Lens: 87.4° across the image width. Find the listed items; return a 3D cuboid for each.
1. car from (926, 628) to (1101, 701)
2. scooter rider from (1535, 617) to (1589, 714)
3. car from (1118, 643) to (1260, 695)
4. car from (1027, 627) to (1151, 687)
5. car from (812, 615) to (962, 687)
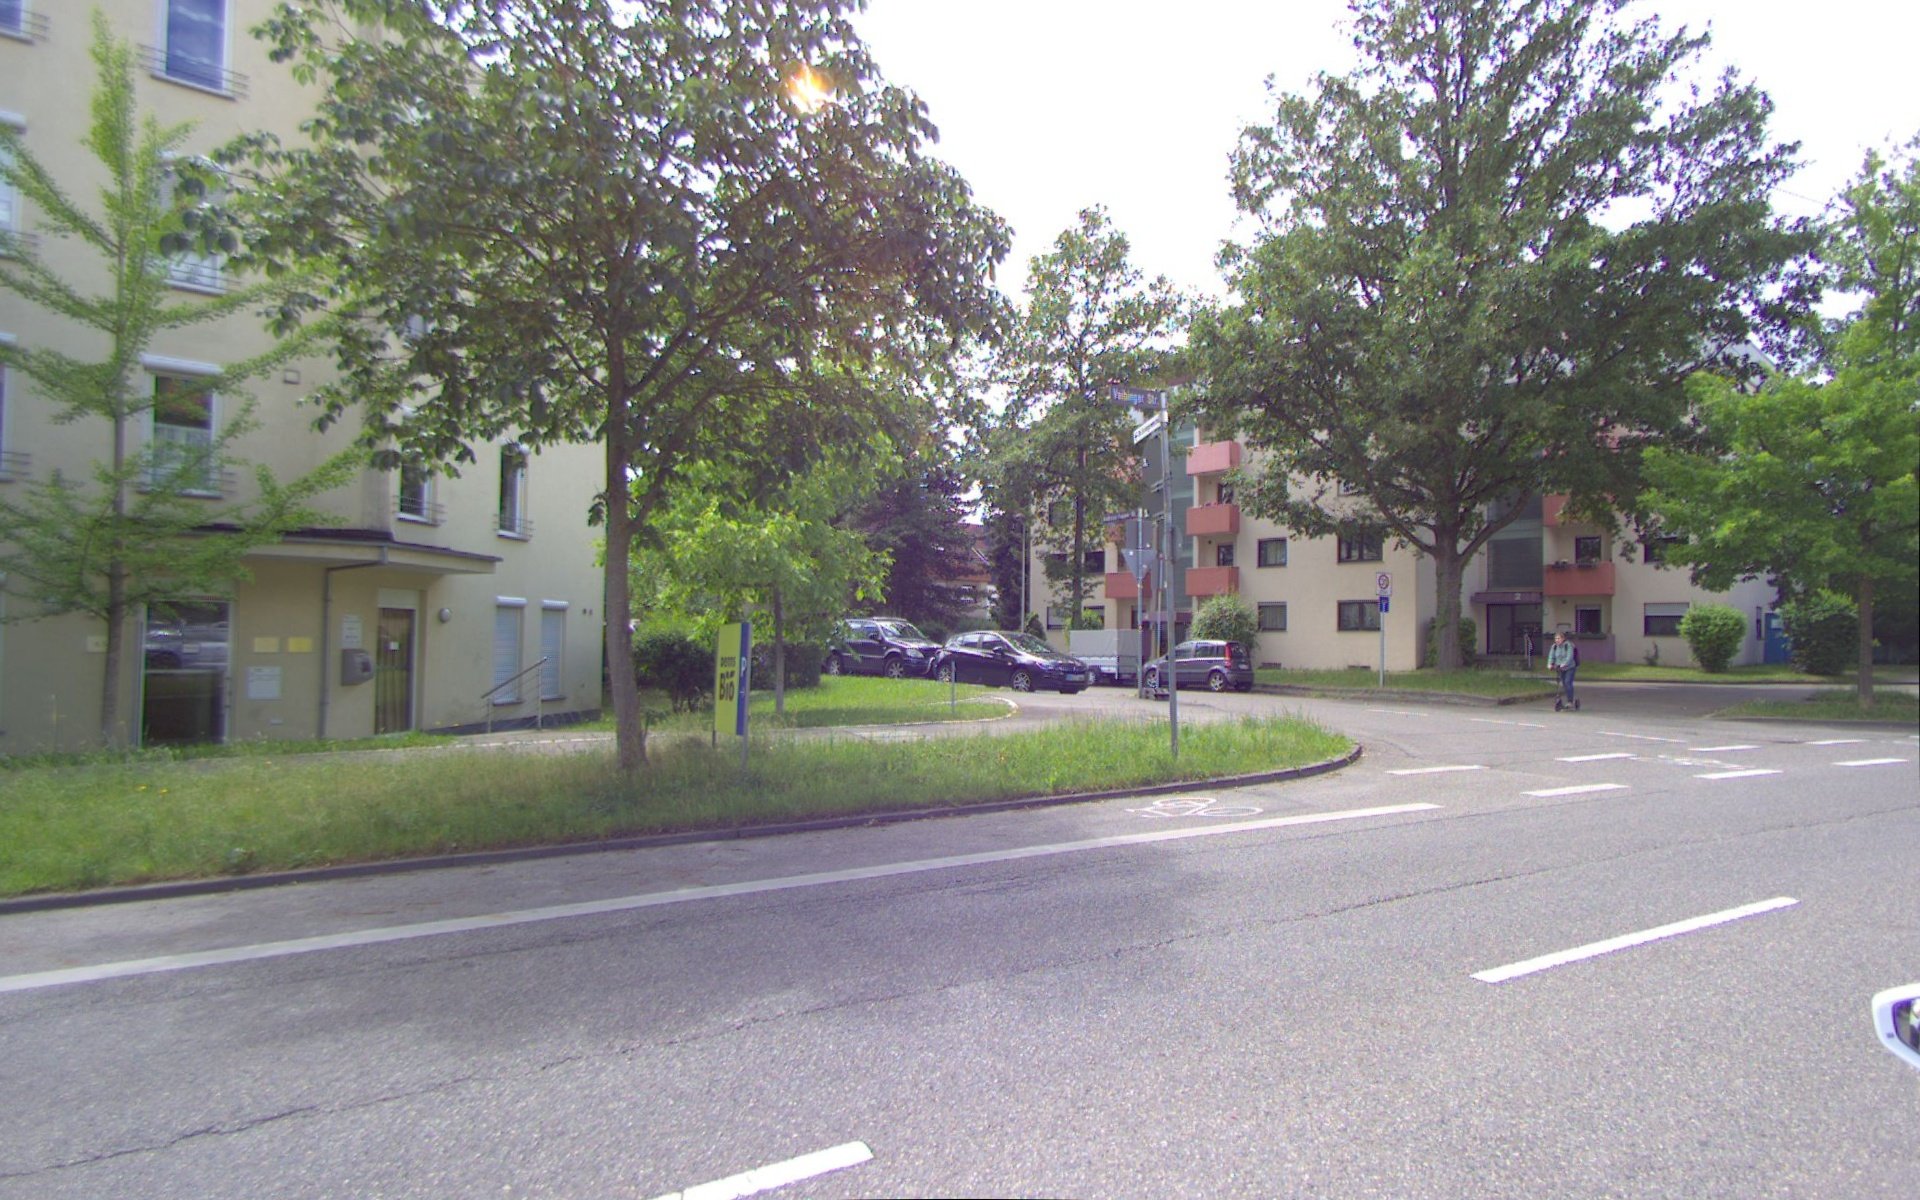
[{"bbox_3d":[1.184,1.456,23.753,1.725,1.417,4.100,2,0,-42],"label":"car"},{"bbox_3d":[13.088,1.401,21.842,0.785,2.040,0.673,2,0,-30],"label":"scooter rider"},{"bbox_3d":[6.943,2.044,30.685,3.945,1.471,1.687,-2,-3,43],"label":"car"},{"bbox_3d":[4.338,2.007,34.096,1.833,1.867,3.952,6,-7,-42],"label":"car"},{"bbox_3d":[-2.088,1.340,27.790,1.857,1.675,4.379,2,0,-41],"label":"car"}]
